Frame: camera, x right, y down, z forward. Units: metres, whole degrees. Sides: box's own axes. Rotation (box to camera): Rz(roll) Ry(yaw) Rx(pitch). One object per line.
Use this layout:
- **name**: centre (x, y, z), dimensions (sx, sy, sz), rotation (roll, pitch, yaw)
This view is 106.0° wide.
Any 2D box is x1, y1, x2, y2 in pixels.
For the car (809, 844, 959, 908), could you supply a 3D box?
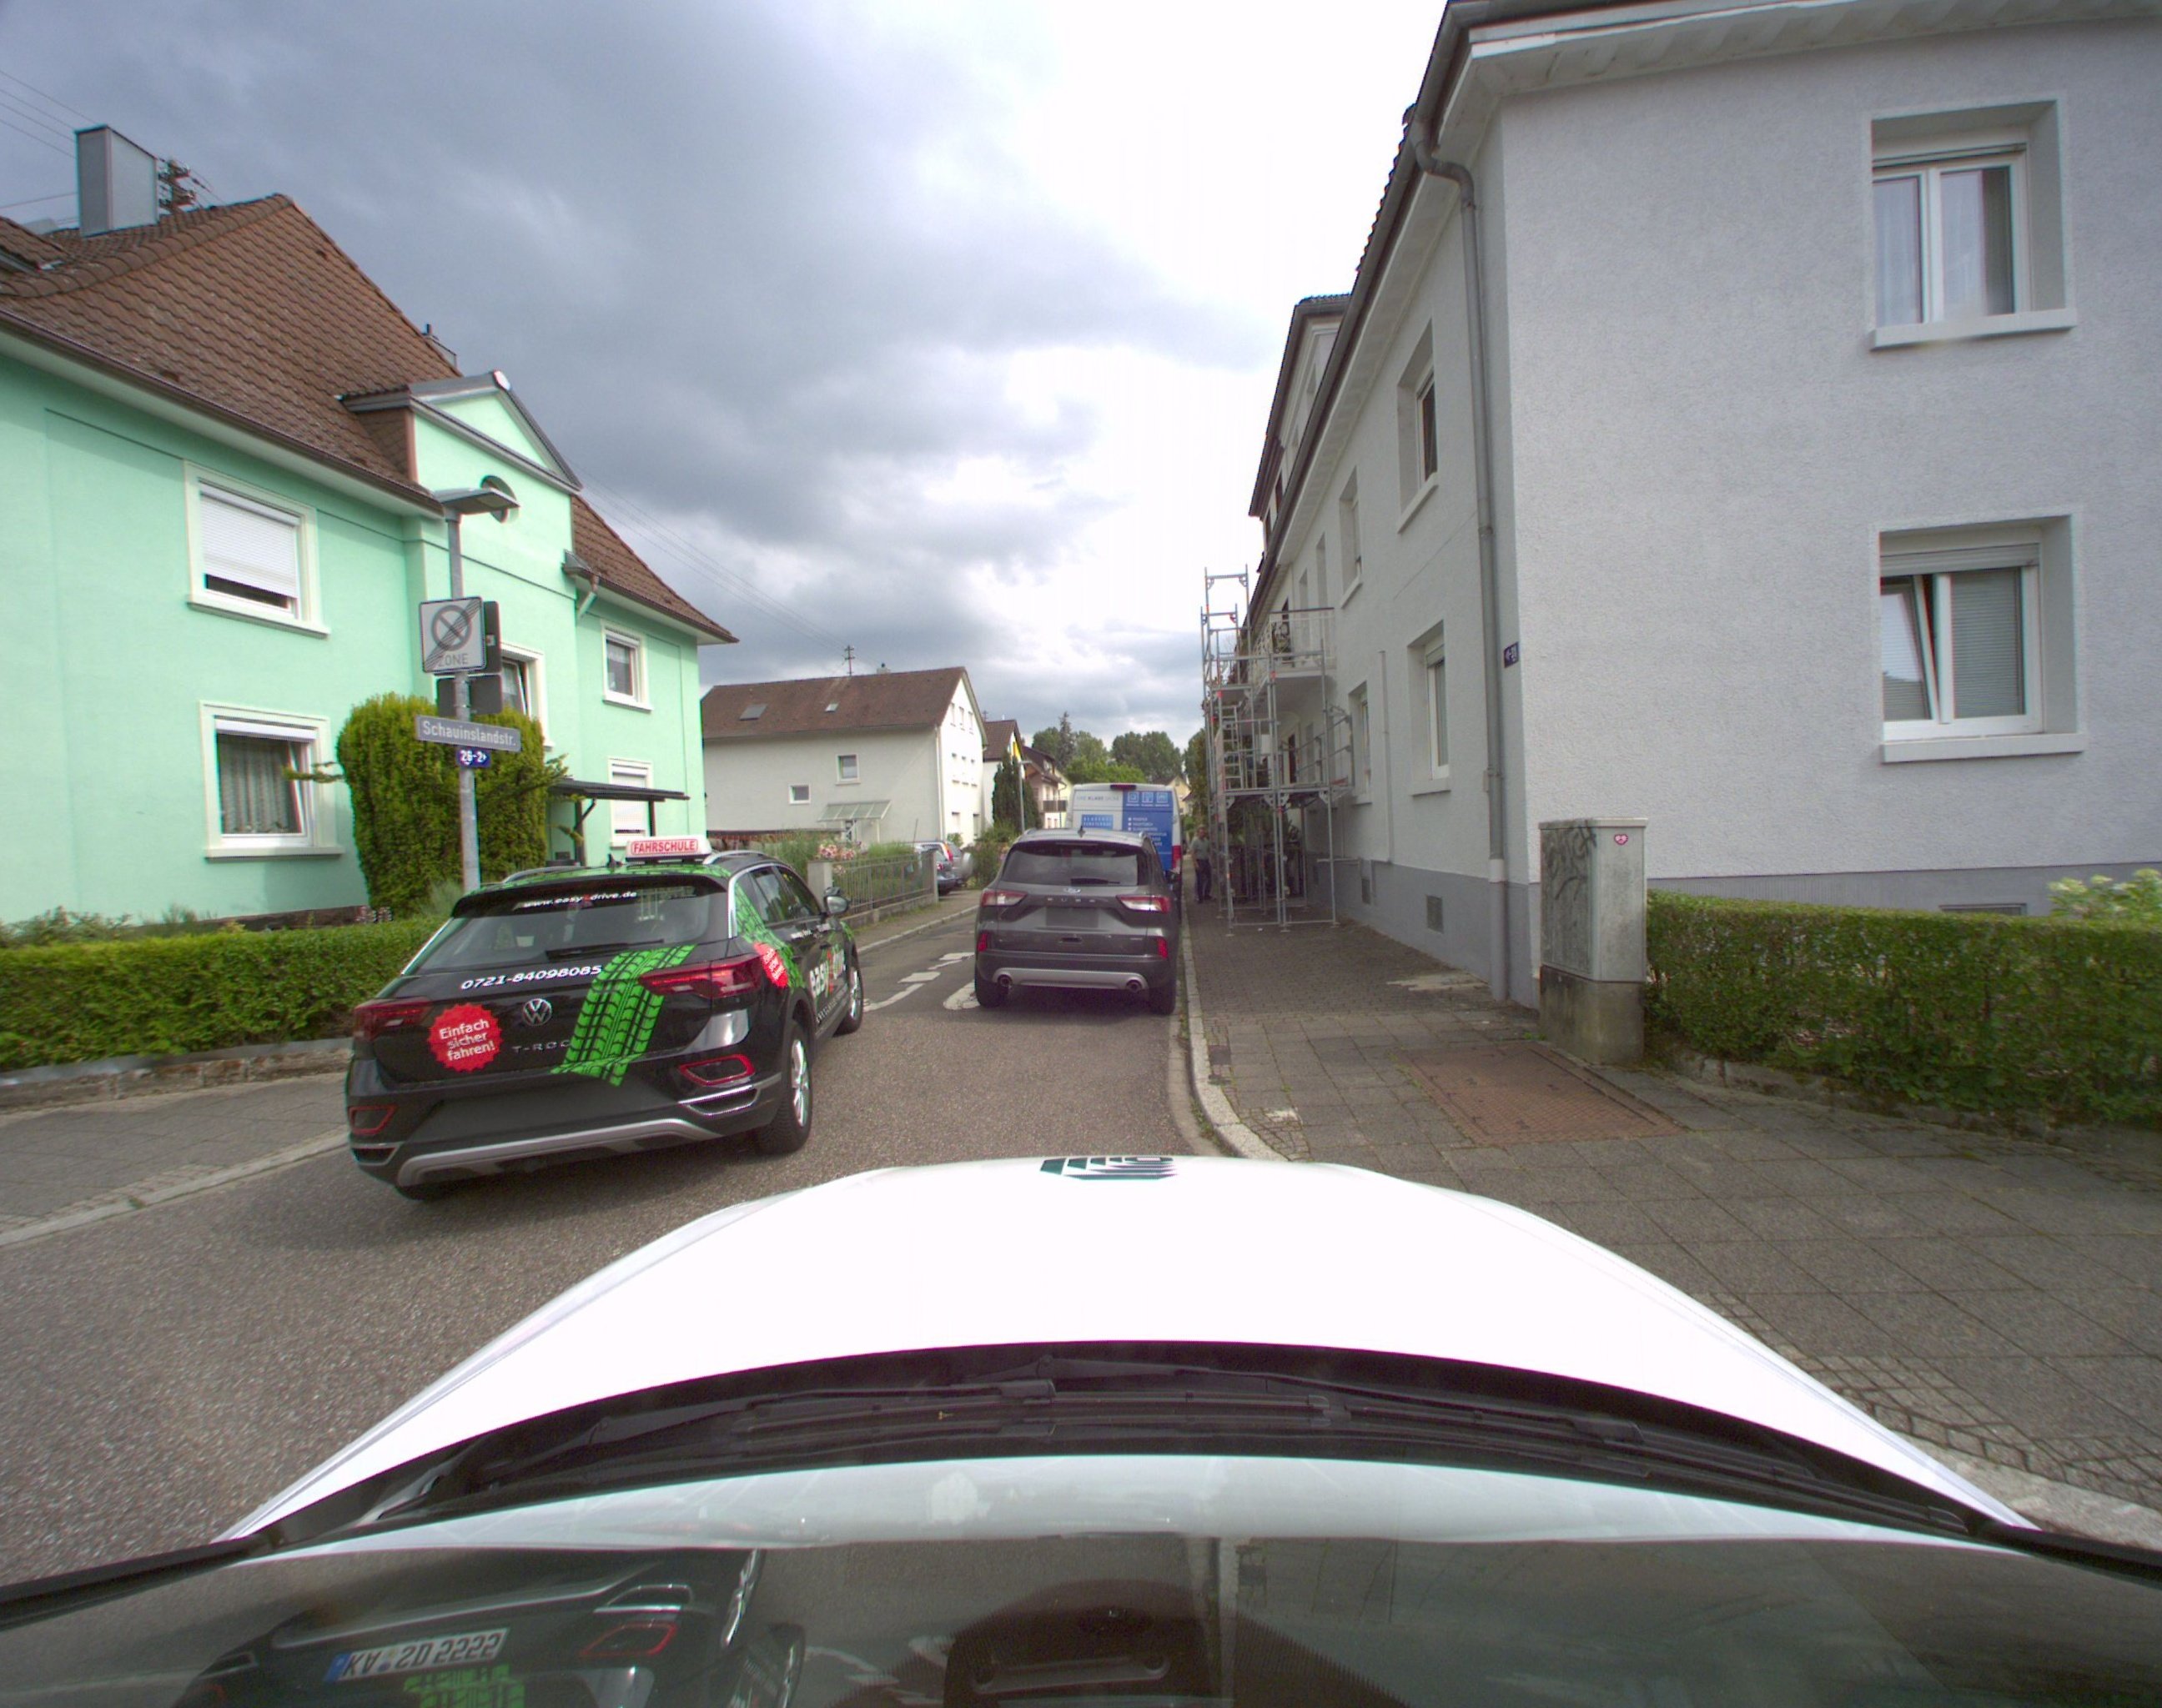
- **car**: centre (-5.284, 0.564, 22.133), dimensions (3.556, 1.500, 1.589), rotation (-3, 1, 2)

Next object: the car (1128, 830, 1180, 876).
- **car**: centre (3.071, -0.082, 34.719), dimensions (1.984, 1.749, 4.347), rotation (-3, 1, 4)

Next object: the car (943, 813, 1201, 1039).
- **car**: centre (0.082, 0.530, 8.679), dimensions (1.984, 1.726, 4.347), rotation (-3, 1, 4)

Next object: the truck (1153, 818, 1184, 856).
- **truck**: centre (6.601, -1.286, 62.035), dimensions (2.120, 2.657, 4.591), rotation (-3, 1, 5)

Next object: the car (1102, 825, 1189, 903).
- **car**: centre (1.704, 0.194, 21.707), dimensions (1.984, 1.772, 4.347), rotation (-3, 1, 4)

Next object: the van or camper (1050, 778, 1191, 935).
- **van or camper**: centre (0.915, -0.019, 15.834), dimensions (2.180, 2.458, 5.064), rotation (-3, 1, 6)

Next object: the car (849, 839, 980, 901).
- **car**: centre (-5.078, 0.477, 25.109), dimensions (3.556, 1.667, 1.589), rotation (-3, 1, 2)

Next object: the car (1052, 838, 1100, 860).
- **car**: centre (-0.401, -0.420, 71.736), dimensions (3.970, 1.772, 1.872), rotation (-3, 0, 3)

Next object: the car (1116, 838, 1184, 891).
- **car**: centre (2.245, 0.274, 26.751), dimensions (1.984, 1.455, 4.347), rotation (-3, 1, 4)

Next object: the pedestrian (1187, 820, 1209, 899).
- **pedestrian**: centre (2.675, 0.133, 18.645), dimensions (0.405, 1.762, 0.514), rotation (-3, 0, 6)

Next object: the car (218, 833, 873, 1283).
- **car**: centre (-2.475, 0.731, 5.076), dimensions (1.816, 1.520, 4.030), rotation (-3, 0, -9)

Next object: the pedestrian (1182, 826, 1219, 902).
- **pedestrian**: centre (2.630, 0.219, 18.007), dimensions (0.622, 1.629, 0.602), rotation (-3, 0, -3)
